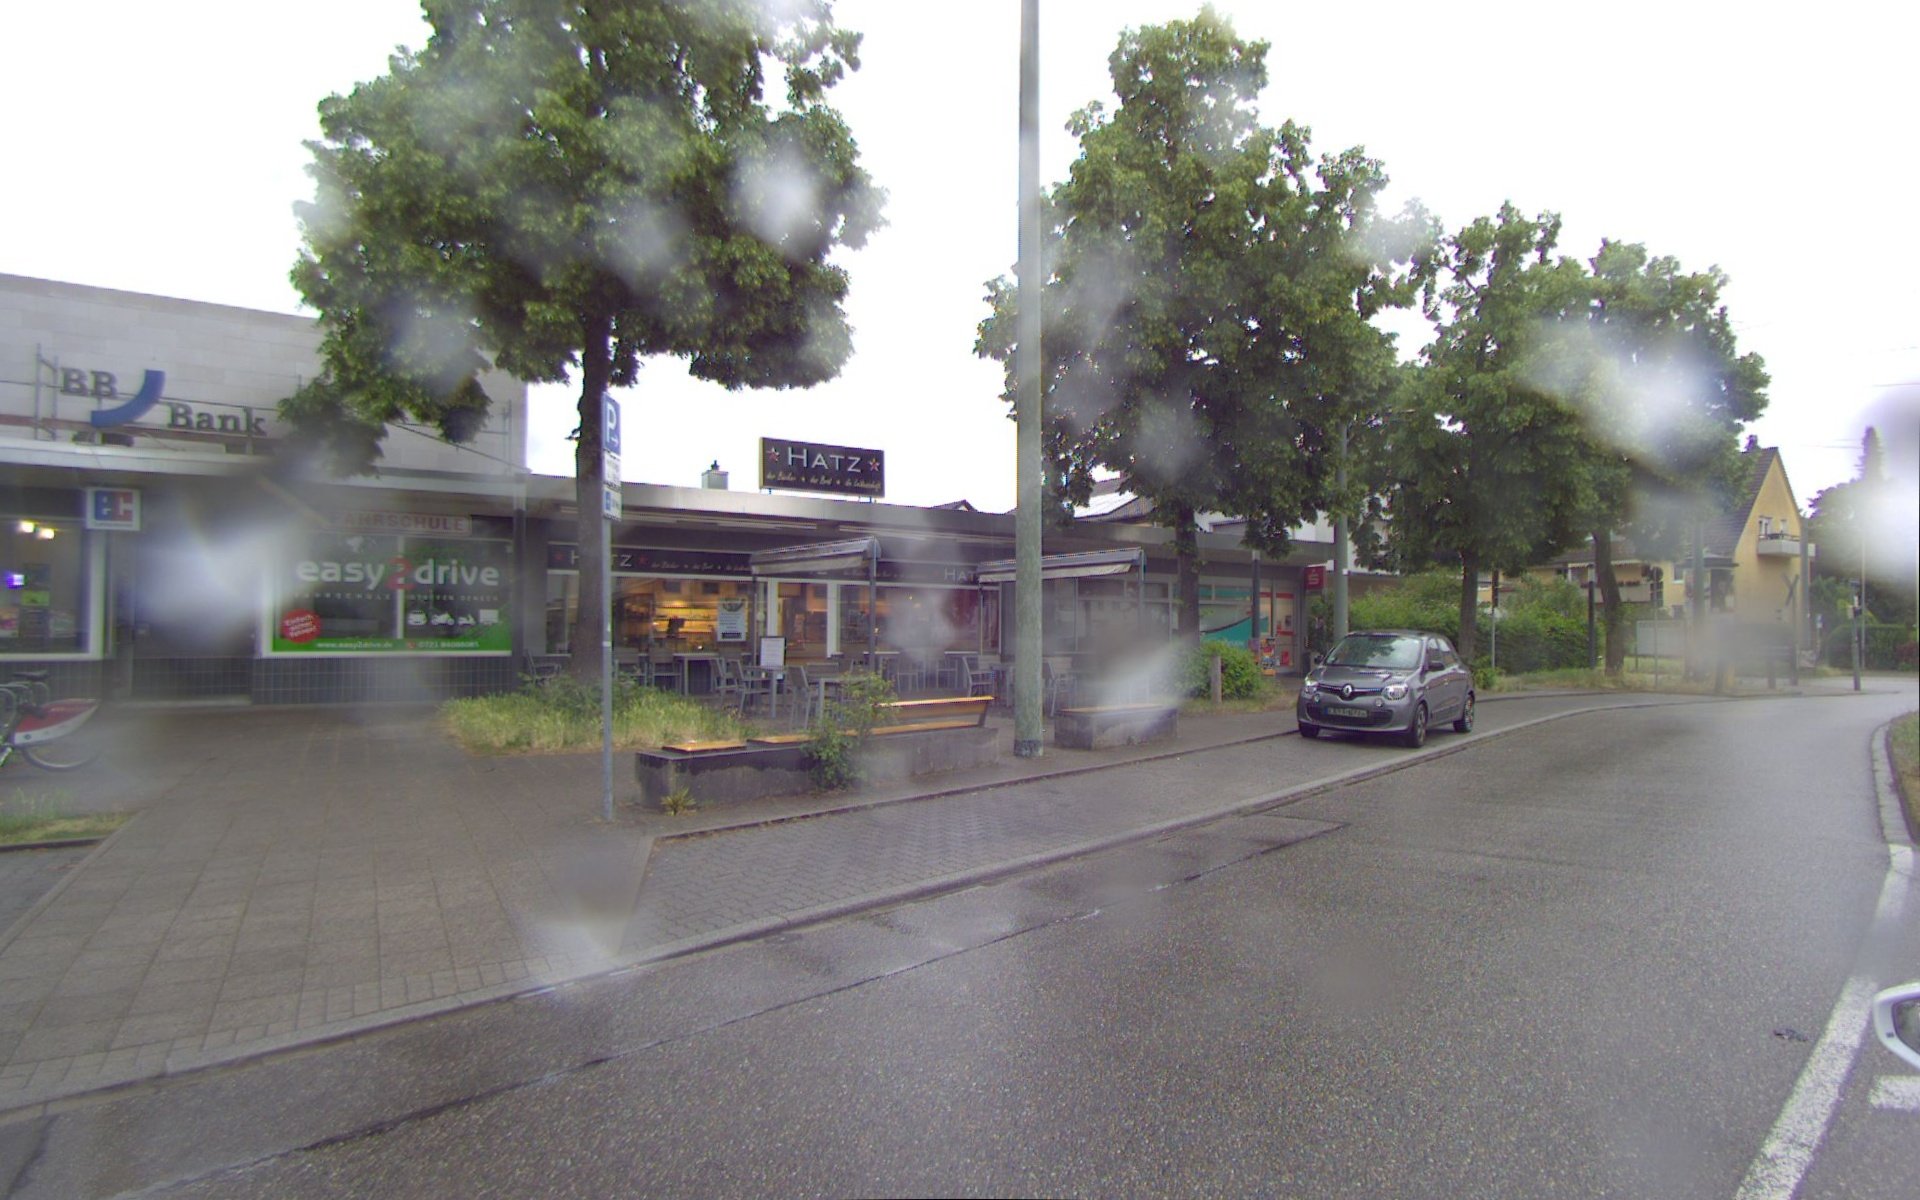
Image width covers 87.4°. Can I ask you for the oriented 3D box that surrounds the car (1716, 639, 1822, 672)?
[{"bbox_3d":[41.978,2.846,52.184,1.815,1.476,3.960,2,0,-35],"label":"car"}]

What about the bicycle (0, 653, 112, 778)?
[{"bbox_3d":[-8.999,1.073,9.280,0.314,1.122,1.739,2,0,43],"label":"bicycle"}]

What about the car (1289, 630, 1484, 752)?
[{"bbox_3d":[6.384,1.230,14.838,1.598,1.516,3.649,2,0,40],"label":"car"}]
